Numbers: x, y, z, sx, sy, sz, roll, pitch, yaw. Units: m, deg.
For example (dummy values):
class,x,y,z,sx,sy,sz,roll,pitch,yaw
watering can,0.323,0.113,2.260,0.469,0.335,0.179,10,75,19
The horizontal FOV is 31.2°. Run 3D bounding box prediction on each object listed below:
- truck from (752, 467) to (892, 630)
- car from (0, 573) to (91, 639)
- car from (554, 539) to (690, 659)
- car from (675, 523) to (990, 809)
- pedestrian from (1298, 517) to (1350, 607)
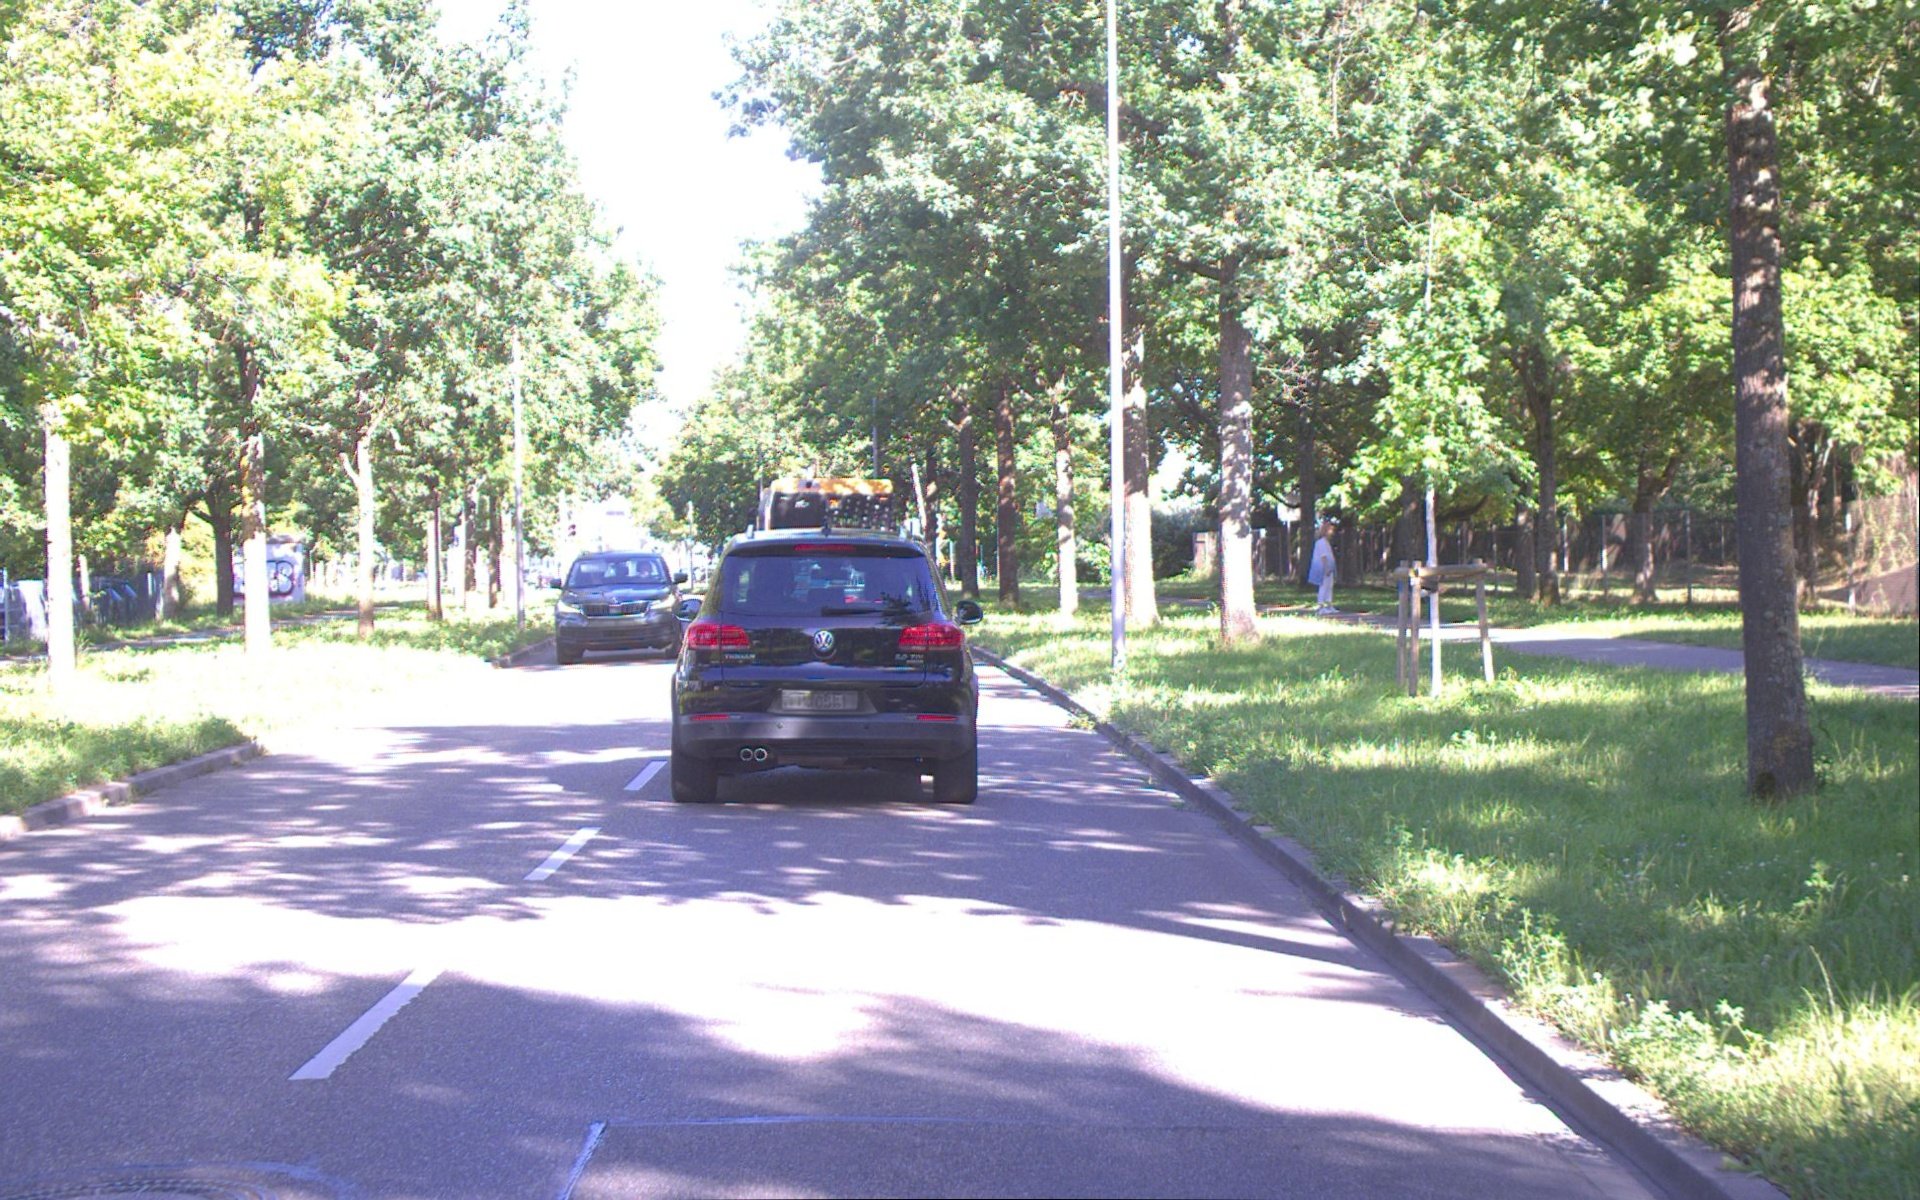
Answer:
class,x,y,z,sx,sy,sz,roll,pitch,yaw
truck,-3.016,-1.079,72.909,2.511,3.232,8.153,-1,1,-5
car,-26.170,0.155,95.087,3.986,1.795,2.001,1,0,-10
car,-5.055,-0.030,51.824,1.767,1.666,4.200,-2,1,-3
car,-0.897,0.364,21.790,1.782,1.628,4.001,1,0,-5
pedestrian,6.792,-0.713,64.196,0.718,1.625,0.609,-3,1,27
